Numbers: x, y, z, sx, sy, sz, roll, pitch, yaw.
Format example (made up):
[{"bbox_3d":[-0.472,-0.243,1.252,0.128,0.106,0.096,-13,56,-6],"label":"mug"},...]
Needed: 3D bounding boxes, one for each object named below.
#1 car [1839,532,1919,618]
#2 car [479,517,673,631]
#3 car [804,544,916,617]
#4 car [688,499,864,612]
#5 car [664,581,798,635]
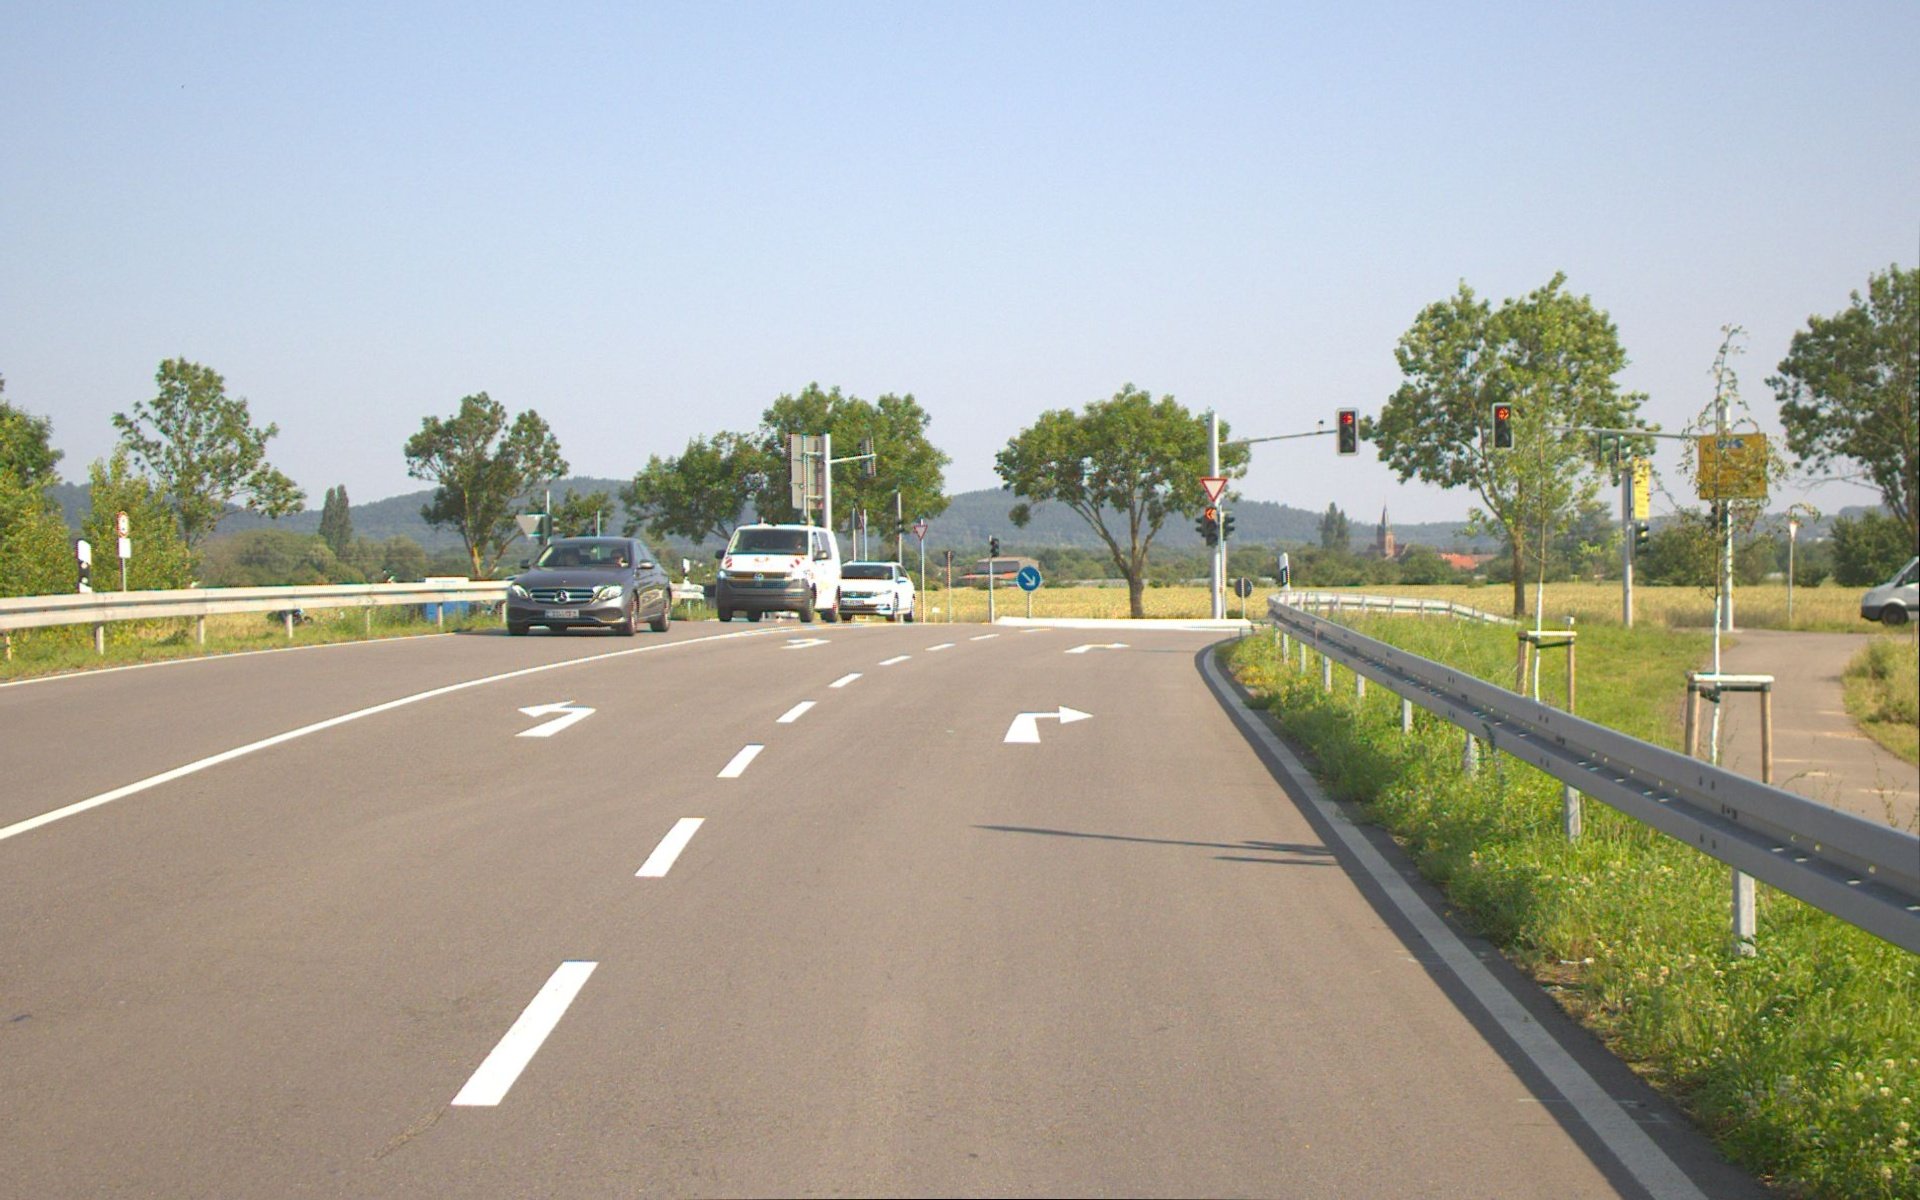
[{"bbox_3d":[29.410,-0.696,102.584,5.963,2.484,1.998,1,0,19],"label":"car"},{"bbox_3d":[-5.654,-0.428,51.191,1.795,1.443,4.705,2,3,7],"label":"car"},{"bbox_3d":[-2.398,-0.498,83.931,2.115,1.488,5.152,2,3,5],"label":"car"},{"bbox_3d":[-3.624,-0.934,68.787,2.116,2.006,5.151,2,3,13],"label":"car"},{"bbox_3d":[-7.521,0.277,112.976,3.958,1.662,1.762,1,0,18],"label":"car"}]
